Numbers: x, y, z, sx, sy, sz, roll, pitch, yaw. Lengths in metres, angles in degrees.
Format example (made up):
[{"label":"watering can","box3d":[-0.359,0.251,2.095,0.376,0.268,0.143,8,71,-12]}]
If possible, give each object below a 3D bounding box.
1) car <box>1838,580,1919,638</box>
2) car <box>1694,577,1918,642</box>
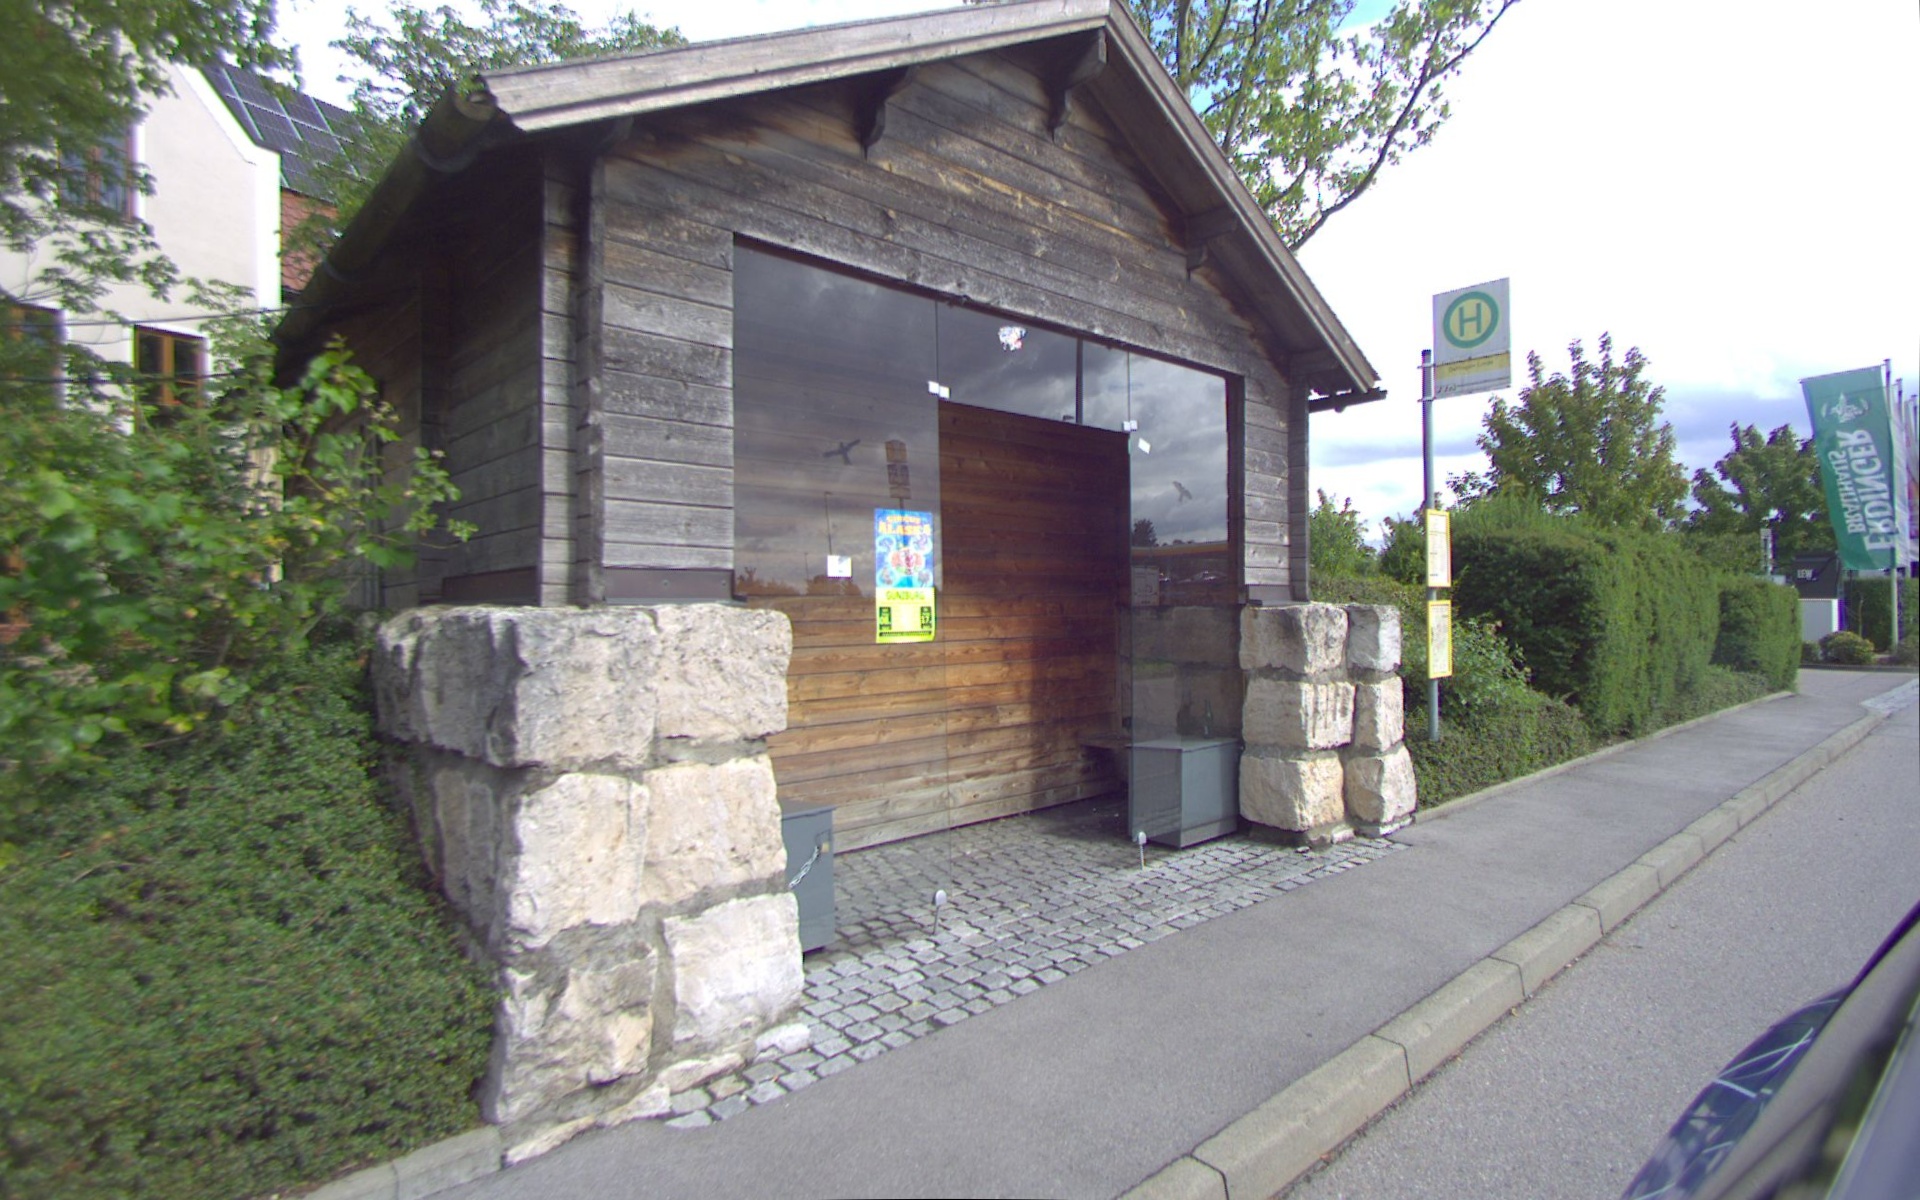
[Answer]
[{"label":"car","box3d":[29.359,0.257,30.282,1.625,1.738,4.365,0,-1,-33]},{"label":"car","box3d":[24.661,0.223,29.716,1.880,1.717,4.685,-1,1,-29]}]
